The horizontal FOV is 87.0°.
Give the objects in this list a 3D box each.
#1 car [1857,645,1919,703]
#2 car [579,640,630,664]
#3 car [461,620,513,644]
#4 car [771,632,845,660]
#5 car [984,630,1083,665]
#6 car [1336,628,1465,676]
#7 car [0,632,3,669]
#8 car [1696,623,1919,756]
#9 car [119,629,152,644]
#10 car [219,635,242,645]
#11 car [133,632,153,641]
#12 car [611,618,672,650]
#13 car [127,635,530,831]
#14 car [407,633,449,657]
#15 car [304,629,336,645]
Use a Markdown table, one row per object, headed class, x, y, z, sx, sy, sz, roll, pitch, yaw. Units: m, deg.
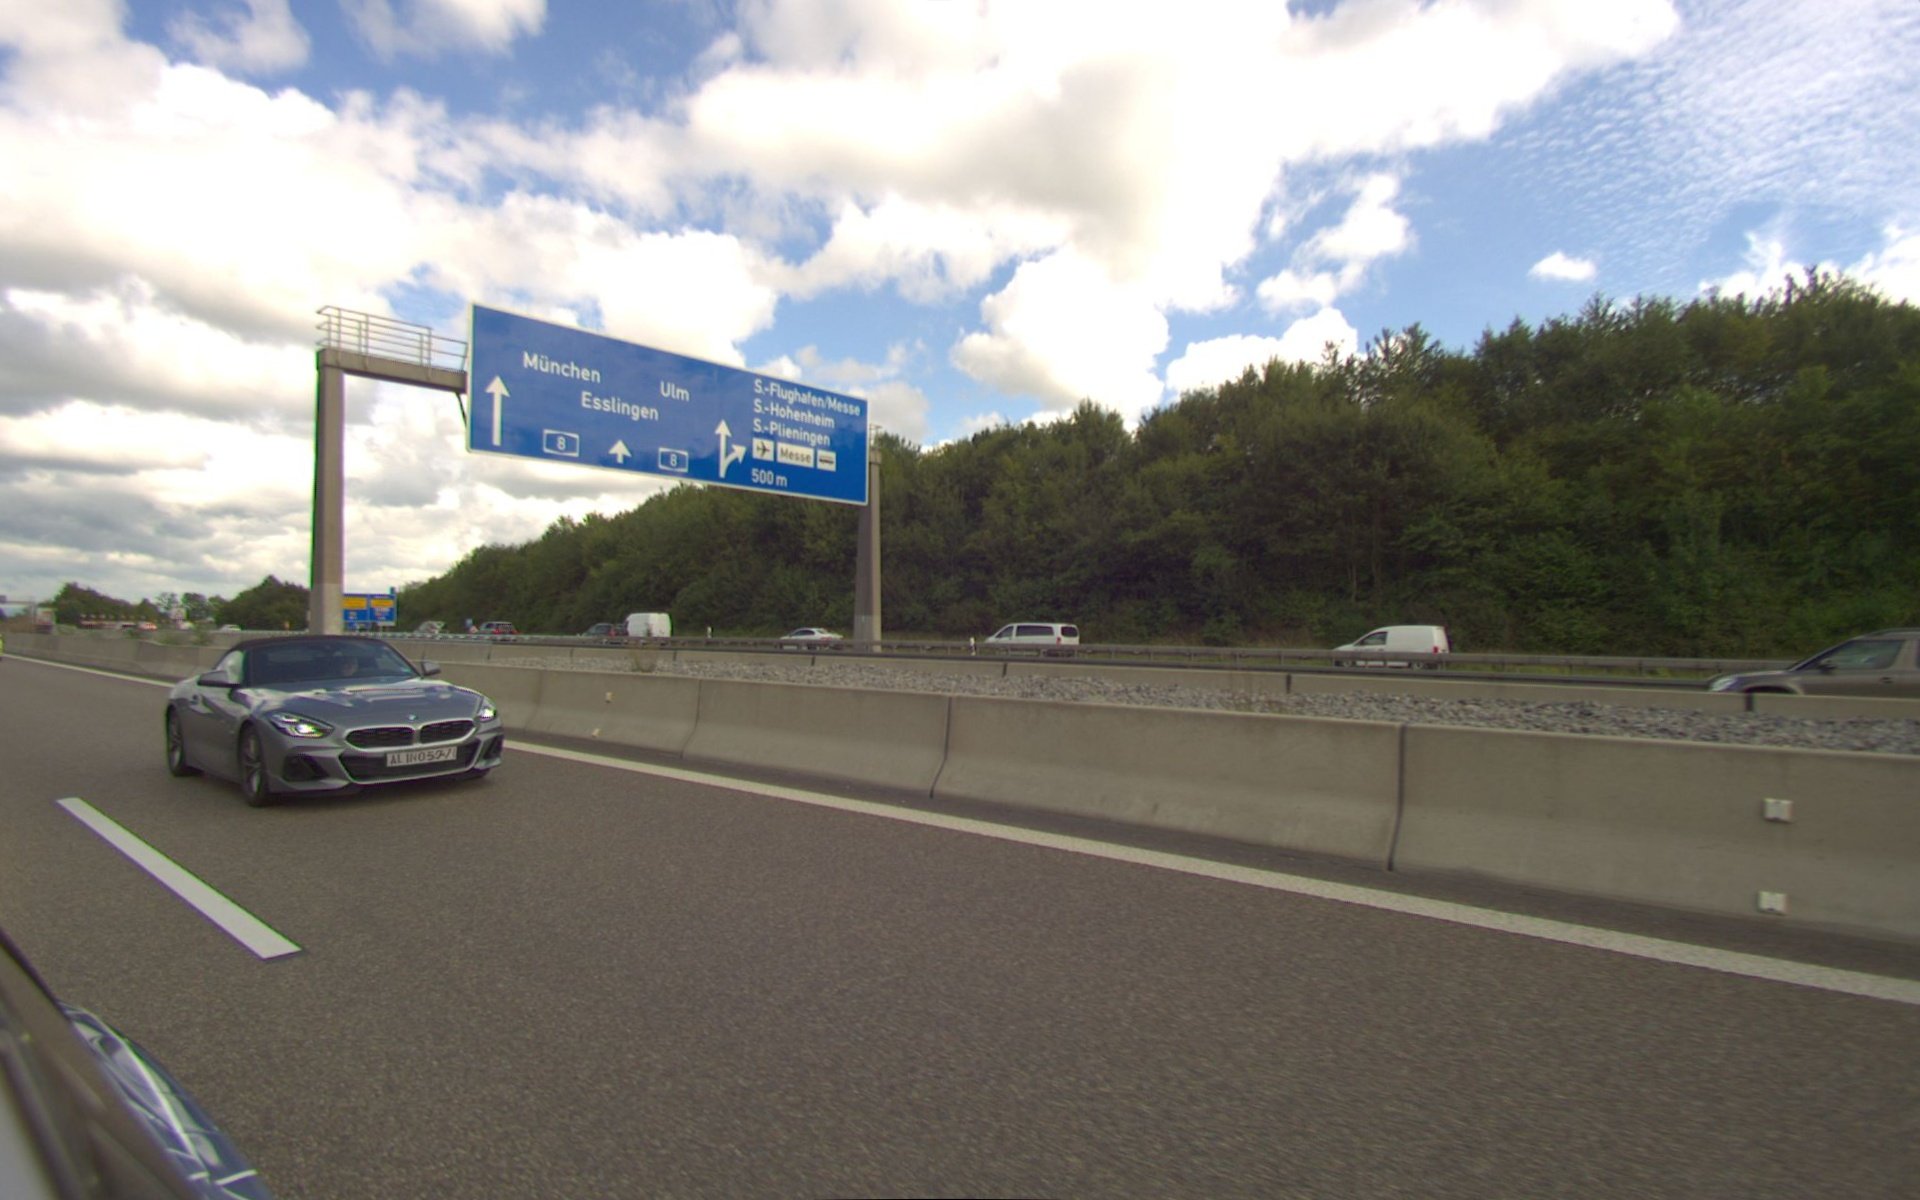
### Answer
| class | x | y | z | sx | sy | sz | roll | pitch | yaw |
| --- | --- | --- | --- | --- | --- | --- | --- | --- | --- |
| car | 25.544 | 1.884 | 25.655 | 4.106 | 1.438 | 1.487 | -1 | -2 | 40 |
| car | -25.089 | 3.646 | 71.391 | 3.997 | 1.660 | 1.640 | -1 | -2 | 41 |
| car | -34.887 | 2.344 | 74.618 | 4.424 | 1.742 | 1.832 | -1 | -3 | 41 |
| car | -8.446 | 2.518 | 55.944 | 4.321 | 1.455 | 1.640 | -1 | -2 | 41 |
| car | 3.642 | 2.343 | 50.772 | 4.944 | 1.646 | 1.717 | -1 | -2 | 41 |
| car | 16.975 | 1.958 | 39.102 | 4.279 | 1.771 | 1.575 | -1 | -2 | 40 |
| car | -37.162 | 1.836 | 37.655 | 4.245 | 1.325 | 1.788 | -1 | -3 | 41 |
| car | 13.840 | 1.229 | 14.229 | 5.500 | 1.799 | 1.815 | -1 | -2 | 41 |
| car | -76.660 | 3.358 | 94.090 | 4.245 | 1.325 | 1.625 | -2 | -2 | 41 |
| car | -97.931 | 5.319 | 135.852 | 4.245 | 1.325 | 1.625 | -2 | -2 | 41 |
| car | -123.227 | 5.565 | 152.563 | 4.245 | 1.325 | 1.625 | -2 | -2 | 41 |
| car | -24.597 | 2.609 | 78.093 | 5.684 | 2.333 | 1.972 | -2 | -3 | 43 |
| car | -6.086 | 1.018 | 9.457 | 4.940 | 1.312 | 1.854 | -1 | -1 | 41 |
| car | -48.330 | 4.033 | 91.919 | 4.342 | 2.029 | 1.973 | -1 | -1 | 41 |
| car | -64.629 | 3.741 | 102.197 | 4.368 | 1.529 | 1.658 | -2 | -2 | 43 |
